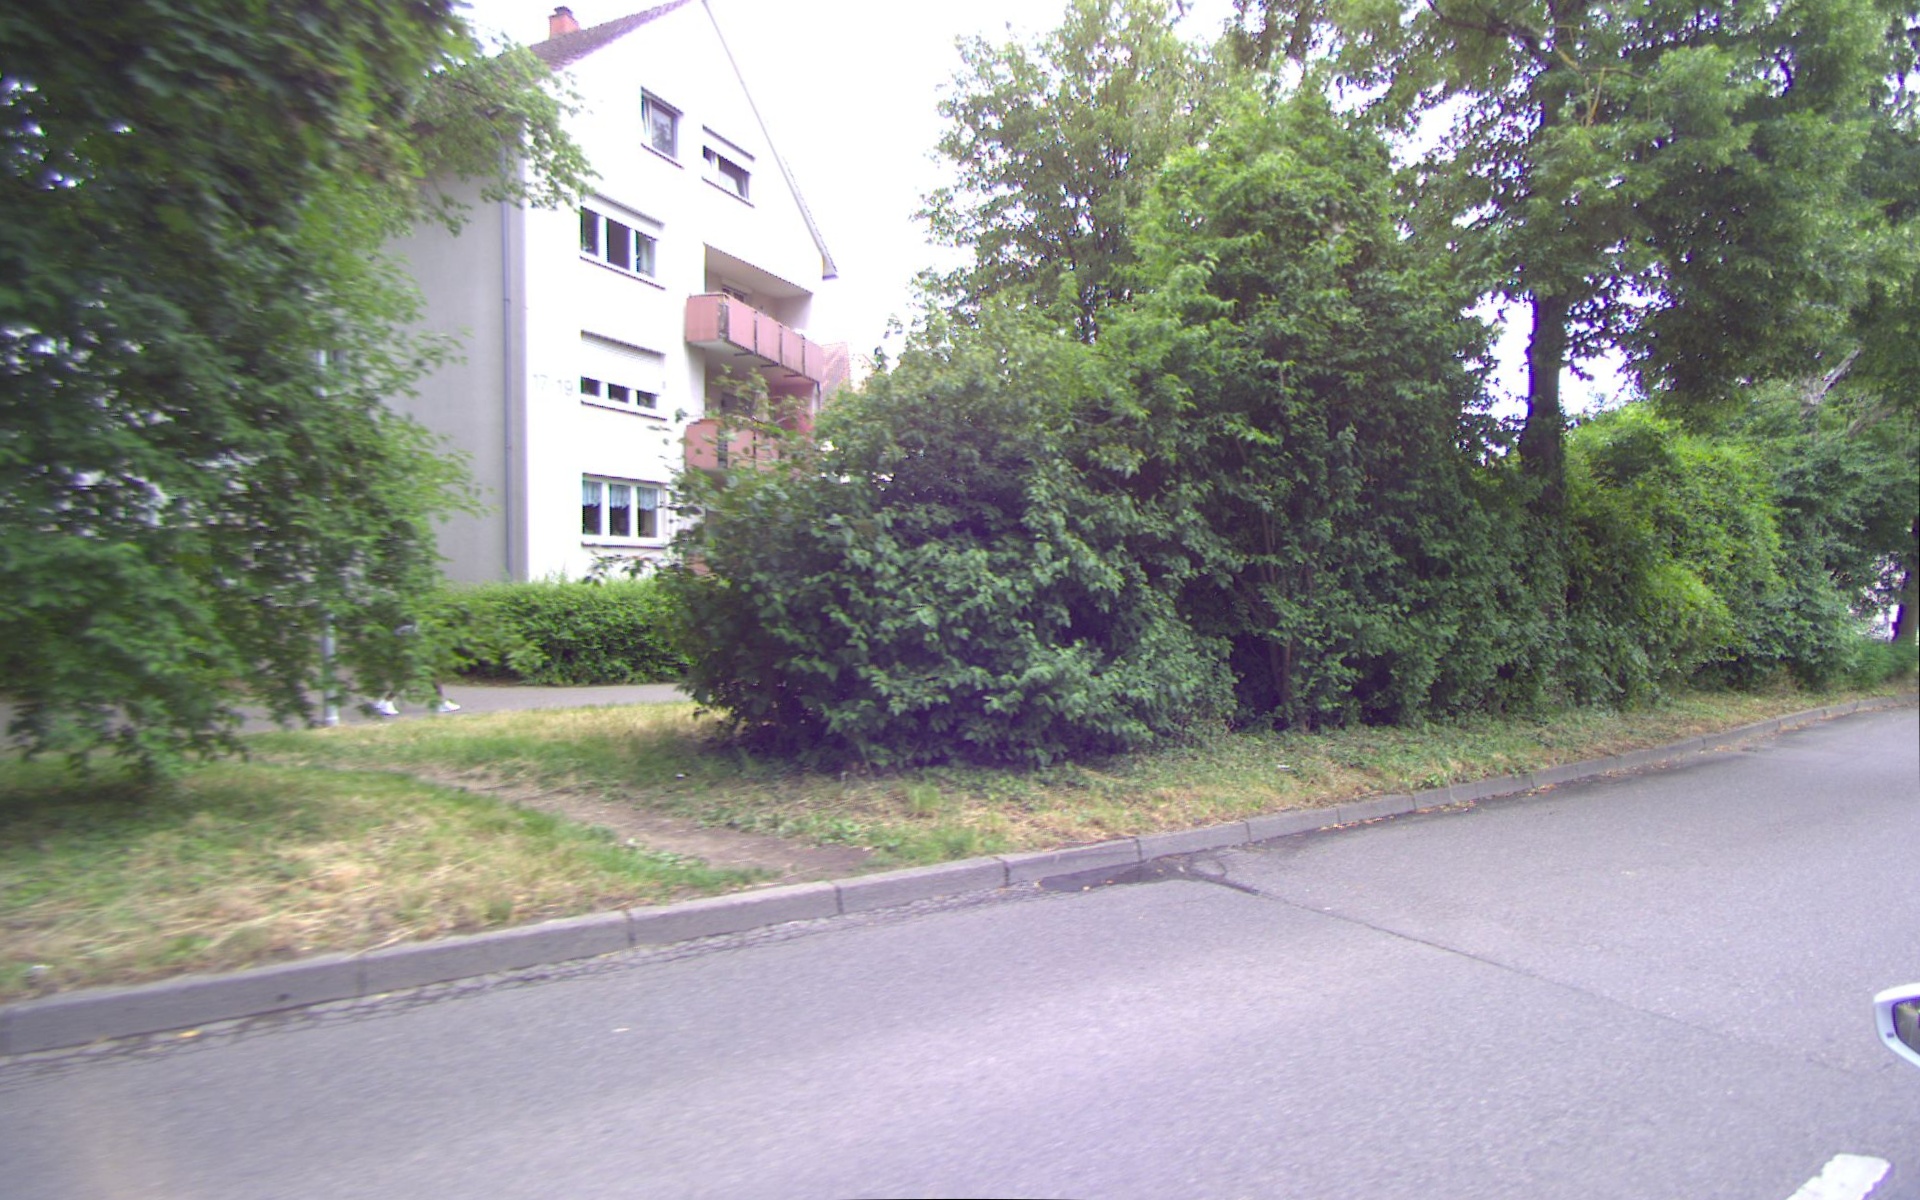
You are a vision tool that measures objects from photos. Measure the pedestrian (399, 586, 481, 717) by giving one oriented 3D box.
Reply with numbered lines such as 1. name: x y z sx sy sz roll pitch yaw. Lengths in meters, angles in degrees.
1. pedestrian: -6.382 0.611 12.314 0.862 1.521 0.605 0 4 -30
